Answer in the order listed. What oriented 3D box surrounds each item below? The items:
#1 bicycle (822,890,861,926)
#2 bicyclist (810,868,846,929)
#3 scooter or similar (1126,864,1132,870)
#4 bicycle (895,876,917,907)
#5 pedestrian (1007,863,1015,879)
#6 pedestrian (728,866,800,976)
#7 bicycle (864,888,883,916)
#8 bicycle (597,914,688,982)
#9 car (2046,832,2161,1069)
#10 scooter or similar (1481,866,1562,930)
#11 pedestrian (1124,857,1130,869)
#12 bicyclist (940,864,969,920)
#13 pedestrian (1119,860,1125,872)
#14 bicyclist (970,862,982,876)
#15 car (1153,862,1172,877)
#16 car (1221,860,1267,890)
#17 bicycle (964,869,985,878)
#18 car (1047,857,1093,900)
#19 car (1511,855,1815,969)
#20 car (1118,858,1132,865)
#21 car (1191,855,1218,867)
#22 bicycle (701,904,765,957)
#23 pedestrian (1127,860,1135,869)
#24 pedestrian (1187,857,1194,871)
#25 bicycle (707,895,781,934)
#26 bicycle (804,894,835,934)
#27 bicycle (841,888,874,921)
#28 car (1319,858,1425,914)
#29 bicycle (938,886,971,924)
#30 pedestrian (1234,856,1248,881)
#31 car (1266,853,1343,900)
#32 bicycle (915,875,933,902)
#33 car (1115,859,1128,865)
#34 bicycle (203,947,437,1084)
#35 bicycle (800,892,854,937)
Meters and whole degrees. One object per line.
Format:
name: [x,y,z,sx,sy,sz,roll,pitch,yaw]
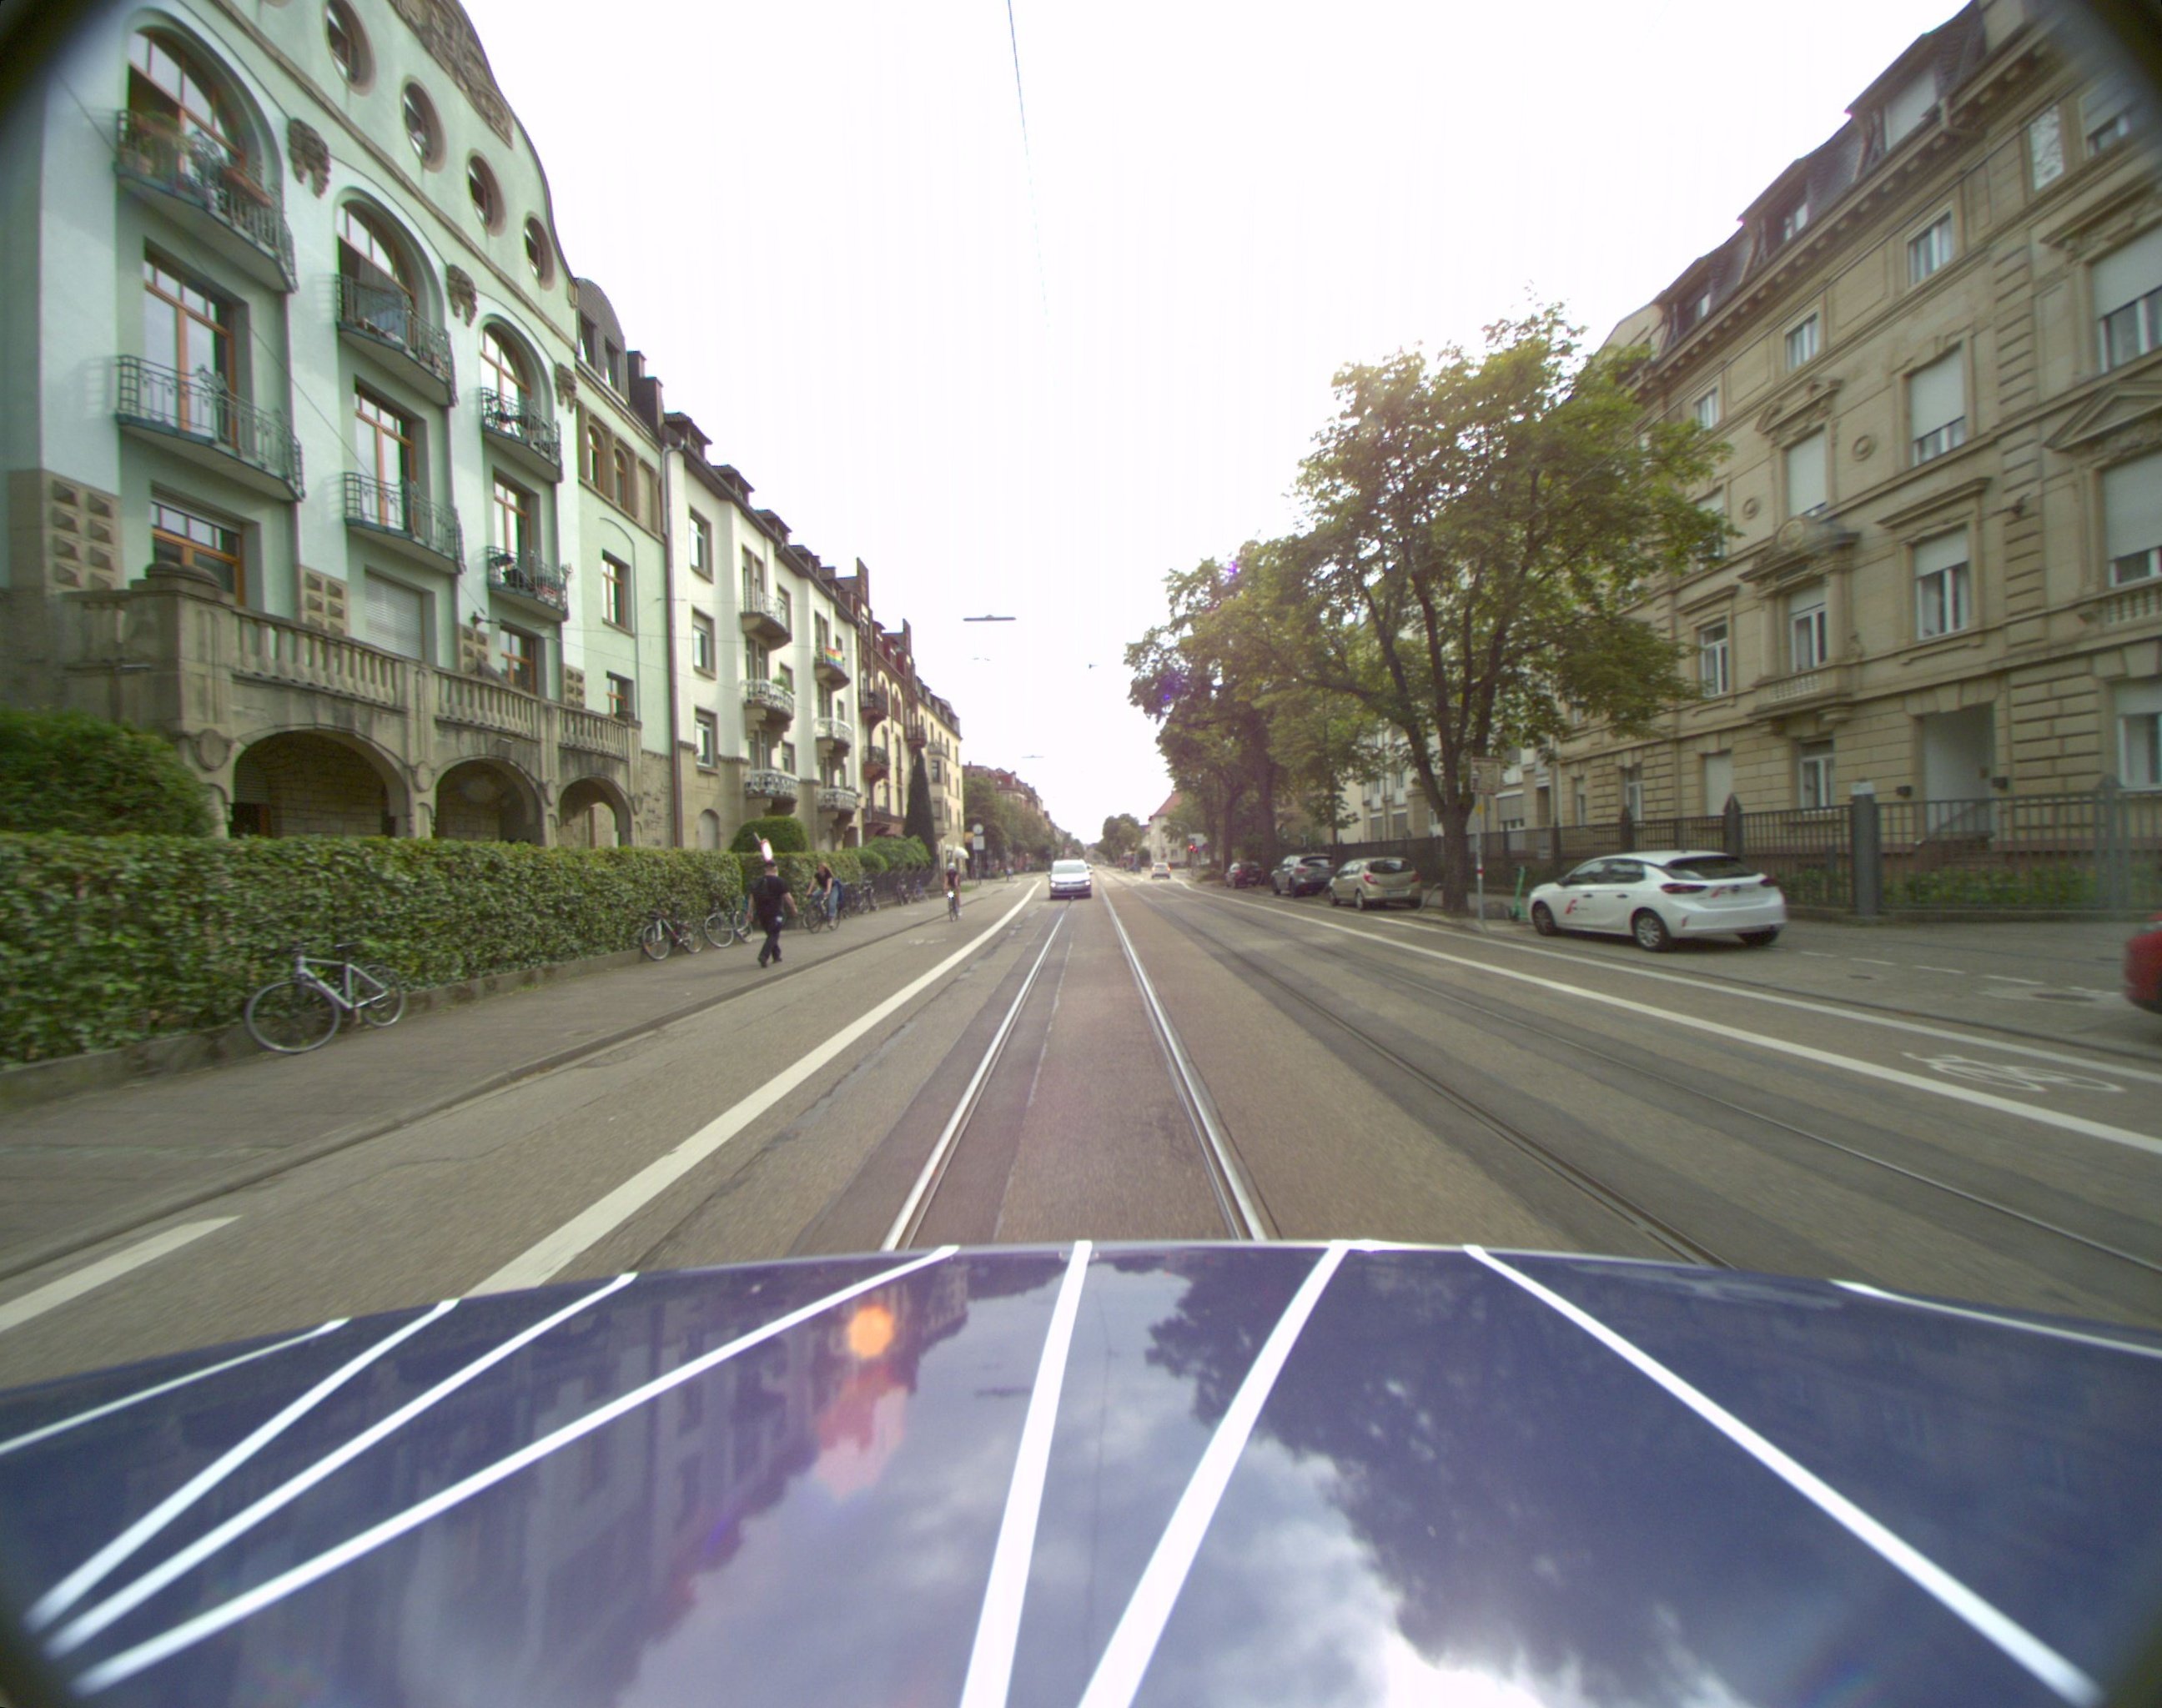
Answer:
bicycle: [-6.876,1.531,21.889,0.487,0.902,1.665,-1,0,4]
bicyclist: [-6.195,1.066,18.639,0.649,1.461,0.800,0,0,-2]
scooter or similar: [6.515,1.726,102.787,0.669,0.708,0.604,1,2,33]
bicycle: [-6.833,1.444,29.703,0.392,1.135,1.921,-1,0,1]
pedestrian: [-7.295,1.728,79.541,0.721,1.650,0.759,2,0,-3]
pedestrian: [-5.118,1.053,12.316,0.787,1.722,0.896,0,0,0]
bicycle: [-6.957,1.596,25.488,0.278,0.847,1.198,-1,0,1]
bicycle: [-7.204,1.516,12.558,0.387,0.902,1.665,-1,0,5]
car: [8.500,0.637,3.704,1.726,1.645,4.542,-4,0,0]
scooter or similar: [8.898,0.873,15.396,0.563,1.215,1.321,-3,0,-23]
pedestrian: [6.287,1.246,103.653,0.684,1.680,0.815,-2,-1,1]
bicyclist: [-3.709,1.096,22.350,0.640,1.561,1.110,-1,0,-2]
pedestrian: [6.615,1.899,122.733,0.658,1.824,0.464,-3,0,-12]
bicyclist: [-12.867,1.846,93.044,0.841,1.679,1.243,-2,-1,-43]
car: [7.490,1.406,70.072,1.574,1.407,4.002,0,0,4]
car: [9.018,1.128,42.357,1.724,1.416,4.167,-5,0,3]
bicycle: [-13.066,2.367,93.240,0.888,1.039,3.089,-2,-1,-43]
car: [-0.440,1.046,34.054,1.767,1.660,4.330,-4,0,1]
car: [9.018,0.790,12.292,1.726,1.415,4.023,-4,0,0]
car: [12.796,2.235,222.097,3.996,1.716,1.877,-3,0,3]
car: [21.240,1.254,130.931,4.188,1.853,1.857,-3,0,36]
bicycle: [-7.081,1.534,15.547,0.387,0.902,1.665,-1,0,5]
pedestrian: [7.463,1.607,113.481,1.033,1.229,0.723,-3,0,-1]
pedestrian: [13.597,1.282,94.211,0.654,1.680,0.712,-2,0,-3]
bicycle: [-8.372,1.497,18.876,1.662,0.902,0.487,-1,1,9]
bicycle: [-6.859,1.561,19.976,0.487,0.902,1.663,-1,0,-10]
bicycle: [-6.947,1.554,23.676,0.487,0.902,1.665,-1,0,1]
car: [8.620,0.896,22.874,1.604,1.459,4.079,-3,0,0]
bicycle: [-3.696,1.480,22.315,0.640,0.975,2.071,-1,0,-2]
pedestrian: [11.612,1.040,55.090,0.707,1.725,0.701,-3,0,-4]
car: [8.790,0.848,30.267,1.714,1.663,4.357,-3,0,0]
bicycle: [-6.692,1.463,32.417,0.392,1.096,1.759,-1,0,1]
car: [12.778,2.401,241.361,3.996,1.716,1.877,-3,0,3]
bicycle: [-7.154,1.467,7.288,0.387,0.902,1.841,-1,0,-1]
bicycle: [-6.198,1.460,18.668,0.690,0.956,2.036,0,-1,-2]
